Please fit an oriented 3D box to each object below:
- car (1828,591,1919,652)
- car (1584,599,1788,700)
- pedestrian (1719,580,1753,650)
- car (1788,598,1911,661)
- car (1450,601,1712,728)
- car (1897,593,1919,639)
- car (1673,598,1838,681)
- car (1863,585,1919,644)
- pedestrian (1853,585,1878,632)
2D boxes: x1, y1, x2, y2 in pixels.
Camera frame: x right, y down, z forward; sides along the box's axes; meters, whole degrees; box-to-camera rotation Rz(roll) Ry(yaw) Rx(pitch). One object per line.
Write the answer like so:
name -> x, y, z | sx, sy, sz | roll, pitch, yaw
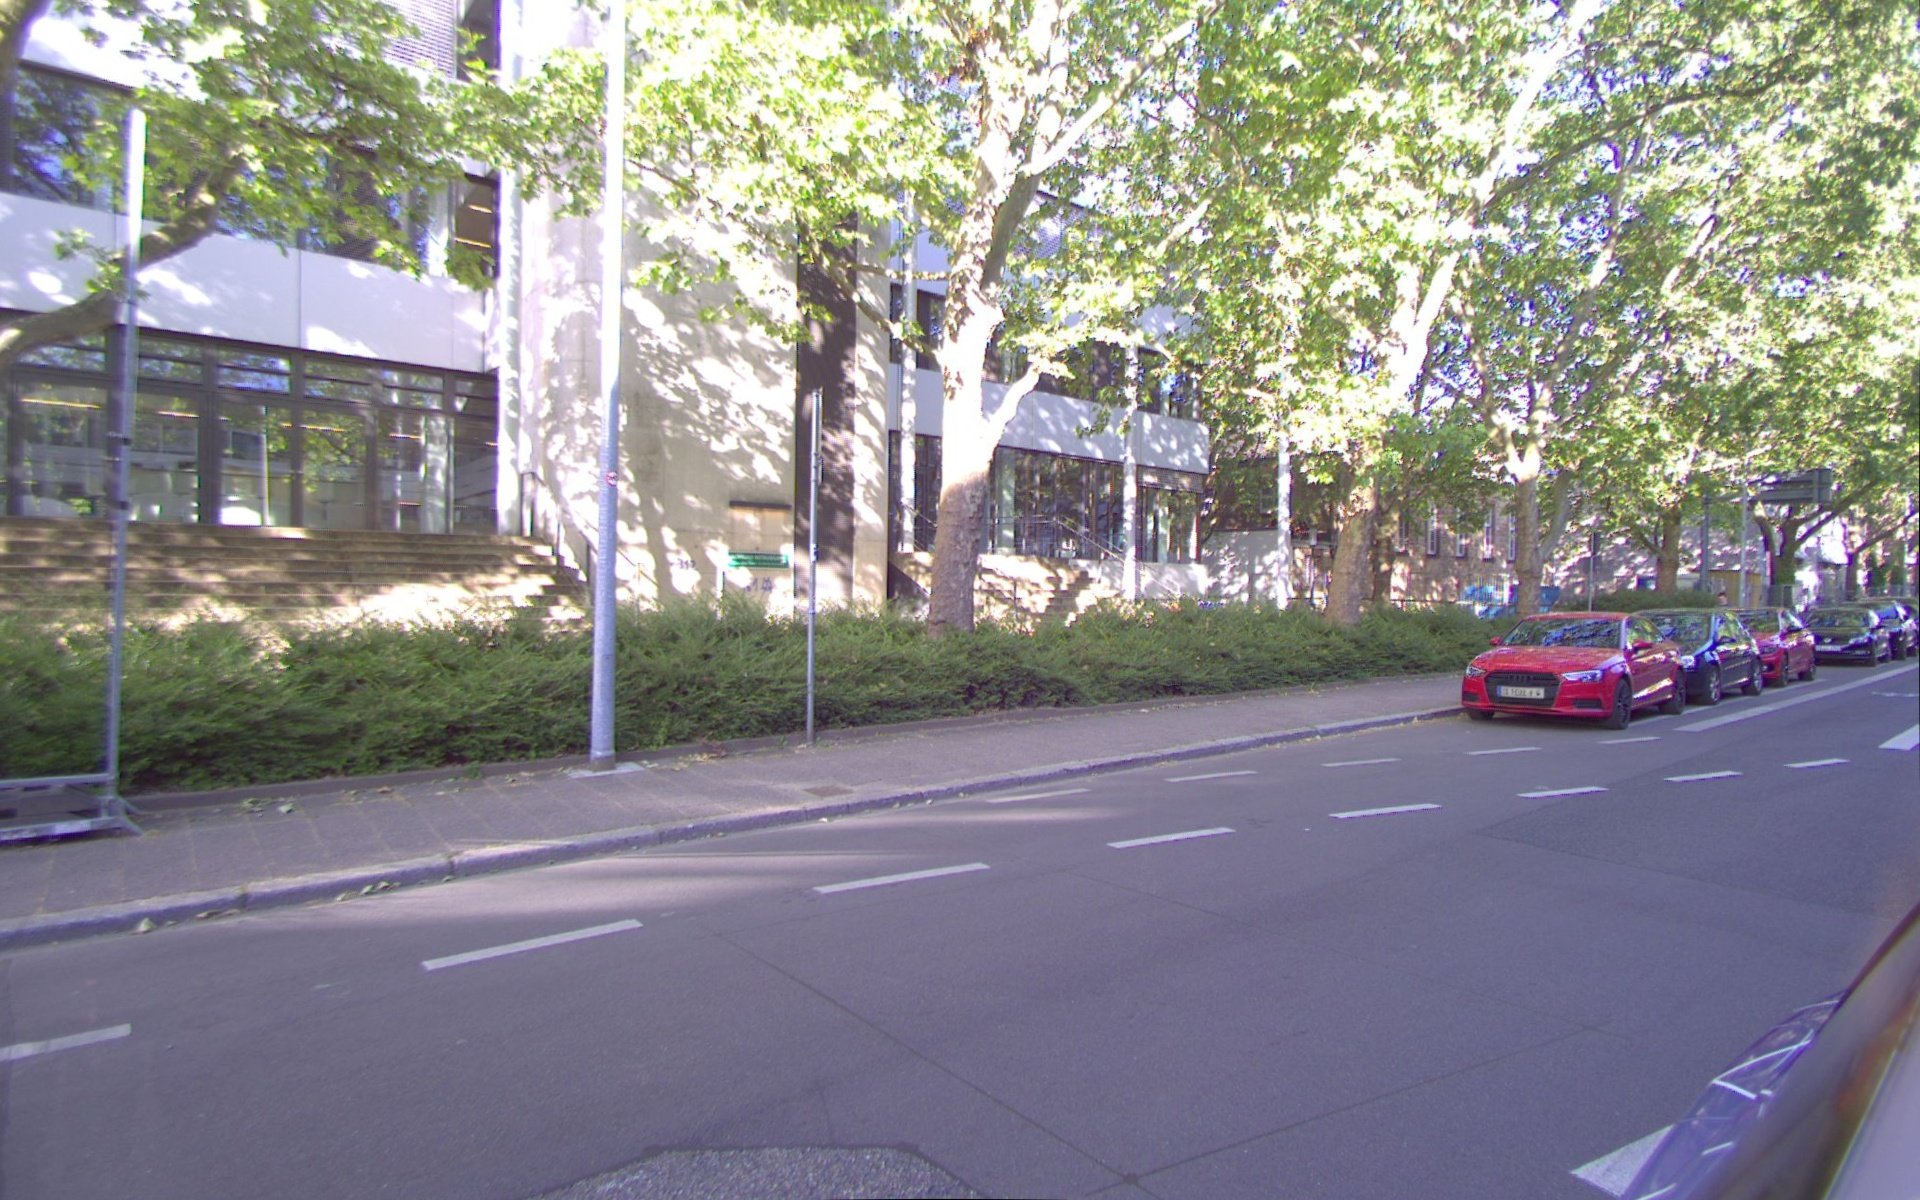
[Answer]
car -> 26.570, 0.569, 29.088 | 4.088, 1.626, 1.834 | 0, 0, -40
car -> 12.032, 0.716, 16.688 | 4.095, 1.464, 1.834 | 0, 0, -41
pedestrian -> 20.530, 0.391, 26.776 | 0.583, 1.818, 0.600 | 0, 0, -41
car -> 22.881, 0.699, 25.994 | 4.095, 1.486, 1.834 | 0, 0, -41
car -> 8.413, 0.733, 13.572 | 4.173, 1.422, 1.834 | 0, 0, -41
car -> 35.919, 0.577, 37.102 | 4.183, 1.634, 1.834 | 0, 0, -40
car -> 15.848, 0.706, 20.102 | 4.095, 1.486, 1.834 | 0, 0, -41
car -> 31.055, 0.435, 32.977 | 4.383, 1.820, 1.834 | 0, 0, -40
pedestrian -> 36.813, 0.326, 41.138 | 0.629, 1.884, 0.660 | 0, 0, -41
